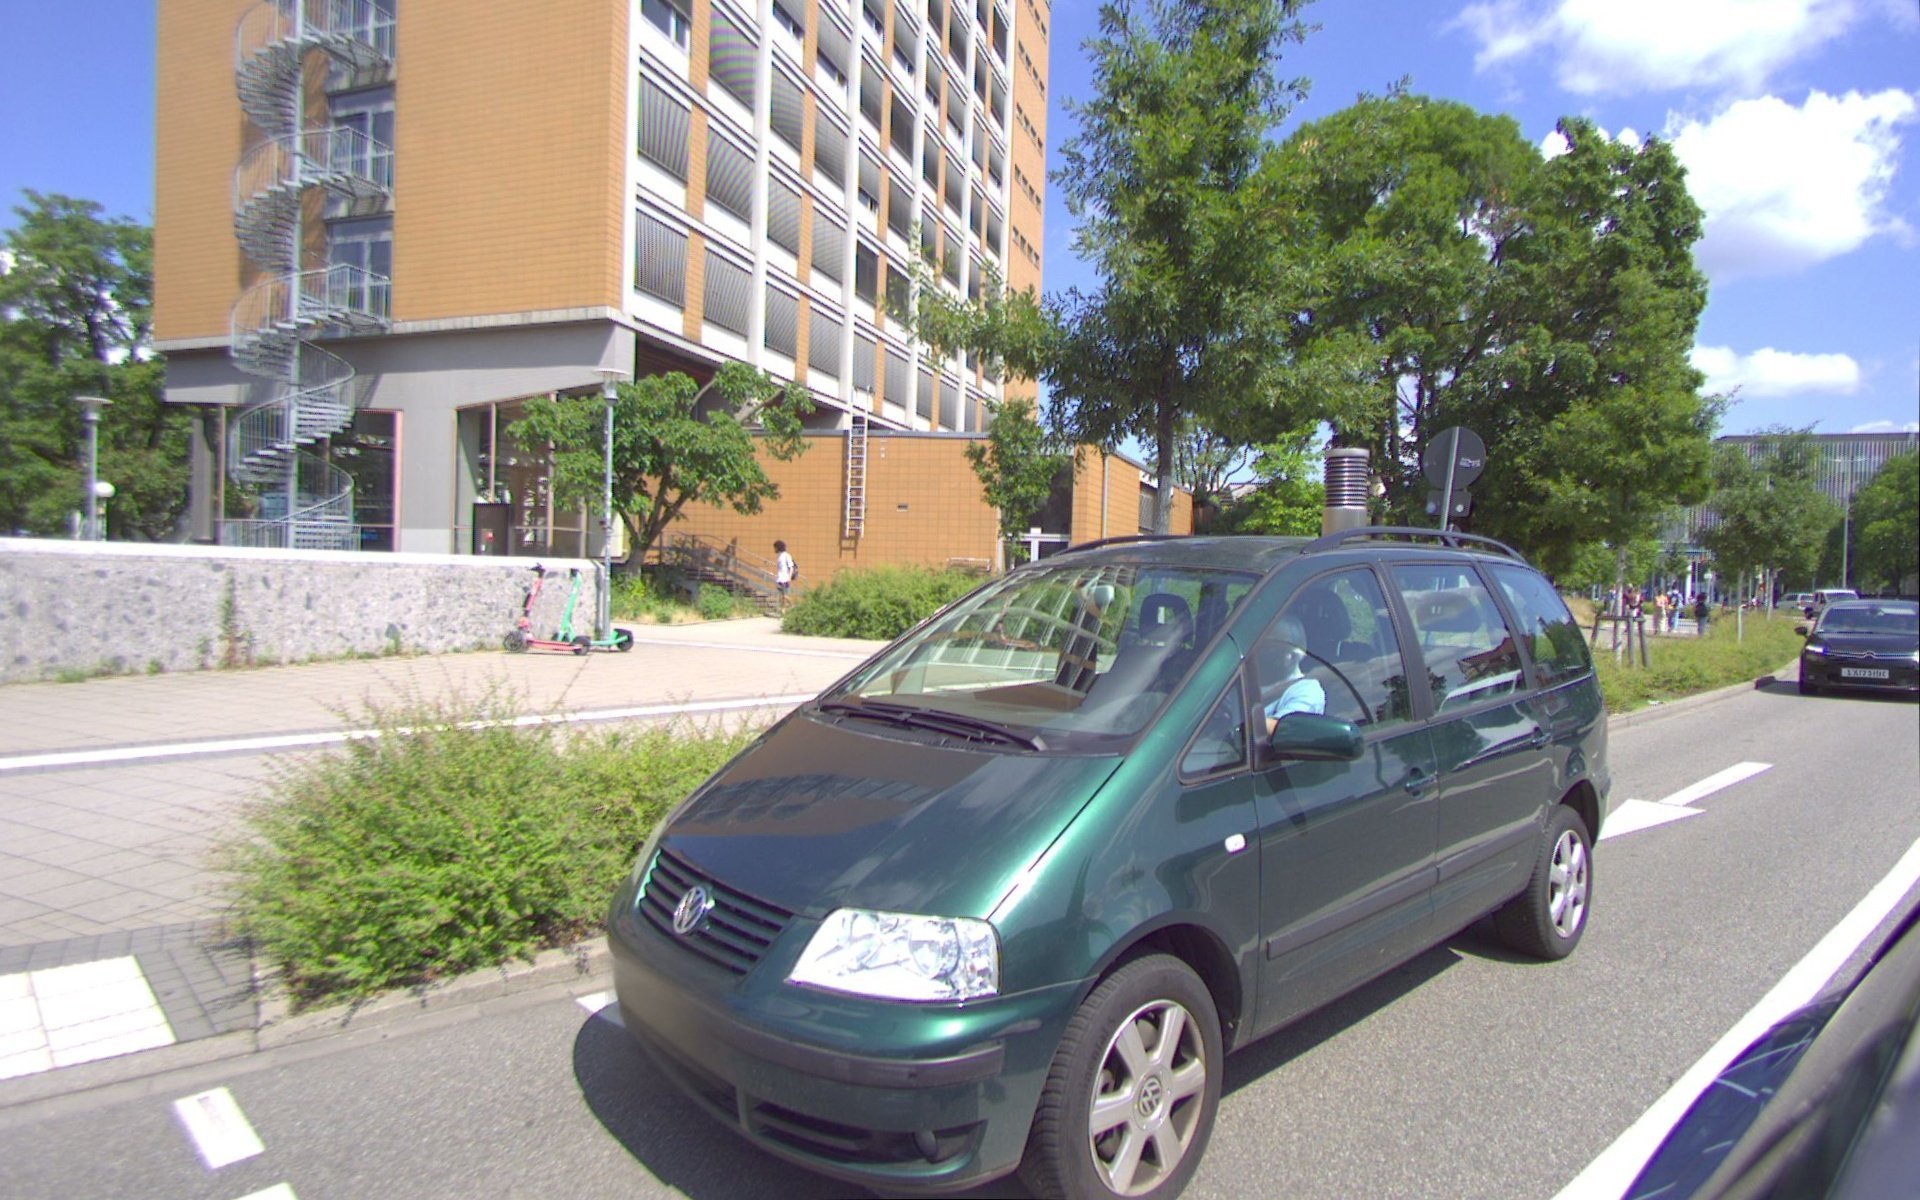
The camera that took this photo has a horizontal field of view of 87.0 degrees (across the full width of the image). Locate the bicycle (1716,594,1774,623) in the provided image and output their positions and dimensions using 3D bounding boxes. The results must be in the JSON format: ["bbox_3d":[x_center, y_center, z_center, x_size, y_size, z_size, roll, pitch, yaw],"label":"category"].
[{"bbox_3d":[33.131,0.365,42.721,1.802,1.062,0.585,5,4,32],"label":"bicycle"}]

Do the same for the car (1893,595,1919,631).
[{"bbox_3d":[42.741,0.544,44.470,1.739,1.523,4.469,-1,0,32],"label":"car"}]

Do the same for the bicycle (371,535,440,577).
[{"bbox_3d":[-14.276,-1.150,26.111,0.390,1.047,1.875,0,3,14],"label":"bicycle"}]

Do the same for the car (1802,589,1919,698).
[{"bbox_3d":[15.861,0.644,17.300,4.447,1.643,1.859,-1,0,-45],"label":"car"}]

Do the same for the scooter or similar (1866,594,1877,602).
[{"bbox_3d":[101.080,-0.265,112.217,0.347,0.854,1.066,1,1,11],"label":"scooter or similar"}]

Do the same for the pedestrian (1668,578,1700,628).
[{"bbox_3d":[27.904,0.087,39.021,0.751,1.843,0.773,5,3,26],"label":"pedestrian"}]

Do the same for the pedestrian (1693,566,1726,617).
[{"bbox_3d":[25.322,-0.299,34.190,0.761,1.645,0.651,-1,4,-42],"label":"pedestrian"}]

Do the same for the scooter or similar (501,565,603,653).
[{"bbox_3d":[-5.597,0.122,13.910,1.257,1.138,0.231,2,1,-4],"label":"scooter or similar"}]

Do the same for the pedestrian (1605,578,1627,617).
[{"bbox_3d":[30.383,-0.131,46.864,0.746,1.774,0.603,3,2,31],"label":"pedestrian"}]

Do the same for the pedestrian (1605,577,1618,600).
[{"bbox_3d":[51.471,-0.912,79.995,0.660,1.768,0.606,3,1,18],"label":"pedestrian"}]

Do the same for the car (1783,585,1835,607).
[{"bbox_3d":[78.406,-0.439,93.523,1.862,1.918,4.842,1,1,17],"label":"car"}]

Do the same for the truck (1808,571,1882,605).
[{"bbox_3d":[64.162,-0.848,73.490,2.437,2.330,5.767,-1,0,25],"label":"truck"}]

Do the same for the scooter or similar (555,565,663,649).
[{"bbox_3d":[-5.075,0.102,14.659,1.424,1.138,0.231,2,1,-4],"label":"scooter or similar"}]

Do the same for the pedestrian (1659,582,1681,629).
[{"bbox_3d":[25.171,0.196,35.882,0.585,1.646,0.719,0,1,32],"label":"pedestrian"}]

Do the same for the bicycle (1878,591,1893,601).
[{"bbox_3d":[101.237,-0.412,110.650,0.377,1.056,1.665,1,1,11],"label":"bicycle"}]

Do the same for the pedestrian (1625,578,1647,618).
[{"bbox_3d":[31.169,-0.102,46.673,0.746,1.824,0.603,3,2,31],"label":"pedestrian"}]

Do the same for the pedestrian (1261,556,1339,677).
[{"bbox_3d":[4.687,0.206,13.961,0.748,1.609,0.757,-1,1,-42],"label":"pedestrian"}]

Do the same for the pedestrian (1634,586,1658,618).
[{"bbox_3d":[36.064,0.097,53.201,0.742,1.616,0.877,3,1,17],"label":"pedestrian"}]

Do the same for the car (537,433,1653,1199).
[{"bbox_3d":[0.918,0.549,3.893,4.370,1.745,1.797,-1,0,-40],"label":"car"}]

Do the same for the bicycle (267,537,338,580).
[{"bbox_3d":[-16.728,-1.073,25.801,0.367,1.047,1.955,0,3,5],"label":"bicycle"}]

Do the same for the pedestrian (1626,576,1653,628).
[{"bbox_3d":[24.398,0.059,36.349,0.752,1.844,0.631,0,1,33],"label":"pedestrian"}]

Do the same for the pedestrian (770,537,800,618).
[{"bbox_3d":[-4.253,-0.551,24.602,0.548,1.891,0.639,3,3,-16],"label":"pedestrian"}]

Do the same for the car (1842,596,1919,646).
[{"bbox_3d":[29.341,0.620,32.213,1.758,1.435,4.301,-1,0,40],"label":"car"}]

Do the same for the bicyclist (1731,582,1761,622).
[{"bbox_3d":[33.166,0.083,42.691,0.824,1.620,0.573,5,4,31],"label":"bicyclist"}]
